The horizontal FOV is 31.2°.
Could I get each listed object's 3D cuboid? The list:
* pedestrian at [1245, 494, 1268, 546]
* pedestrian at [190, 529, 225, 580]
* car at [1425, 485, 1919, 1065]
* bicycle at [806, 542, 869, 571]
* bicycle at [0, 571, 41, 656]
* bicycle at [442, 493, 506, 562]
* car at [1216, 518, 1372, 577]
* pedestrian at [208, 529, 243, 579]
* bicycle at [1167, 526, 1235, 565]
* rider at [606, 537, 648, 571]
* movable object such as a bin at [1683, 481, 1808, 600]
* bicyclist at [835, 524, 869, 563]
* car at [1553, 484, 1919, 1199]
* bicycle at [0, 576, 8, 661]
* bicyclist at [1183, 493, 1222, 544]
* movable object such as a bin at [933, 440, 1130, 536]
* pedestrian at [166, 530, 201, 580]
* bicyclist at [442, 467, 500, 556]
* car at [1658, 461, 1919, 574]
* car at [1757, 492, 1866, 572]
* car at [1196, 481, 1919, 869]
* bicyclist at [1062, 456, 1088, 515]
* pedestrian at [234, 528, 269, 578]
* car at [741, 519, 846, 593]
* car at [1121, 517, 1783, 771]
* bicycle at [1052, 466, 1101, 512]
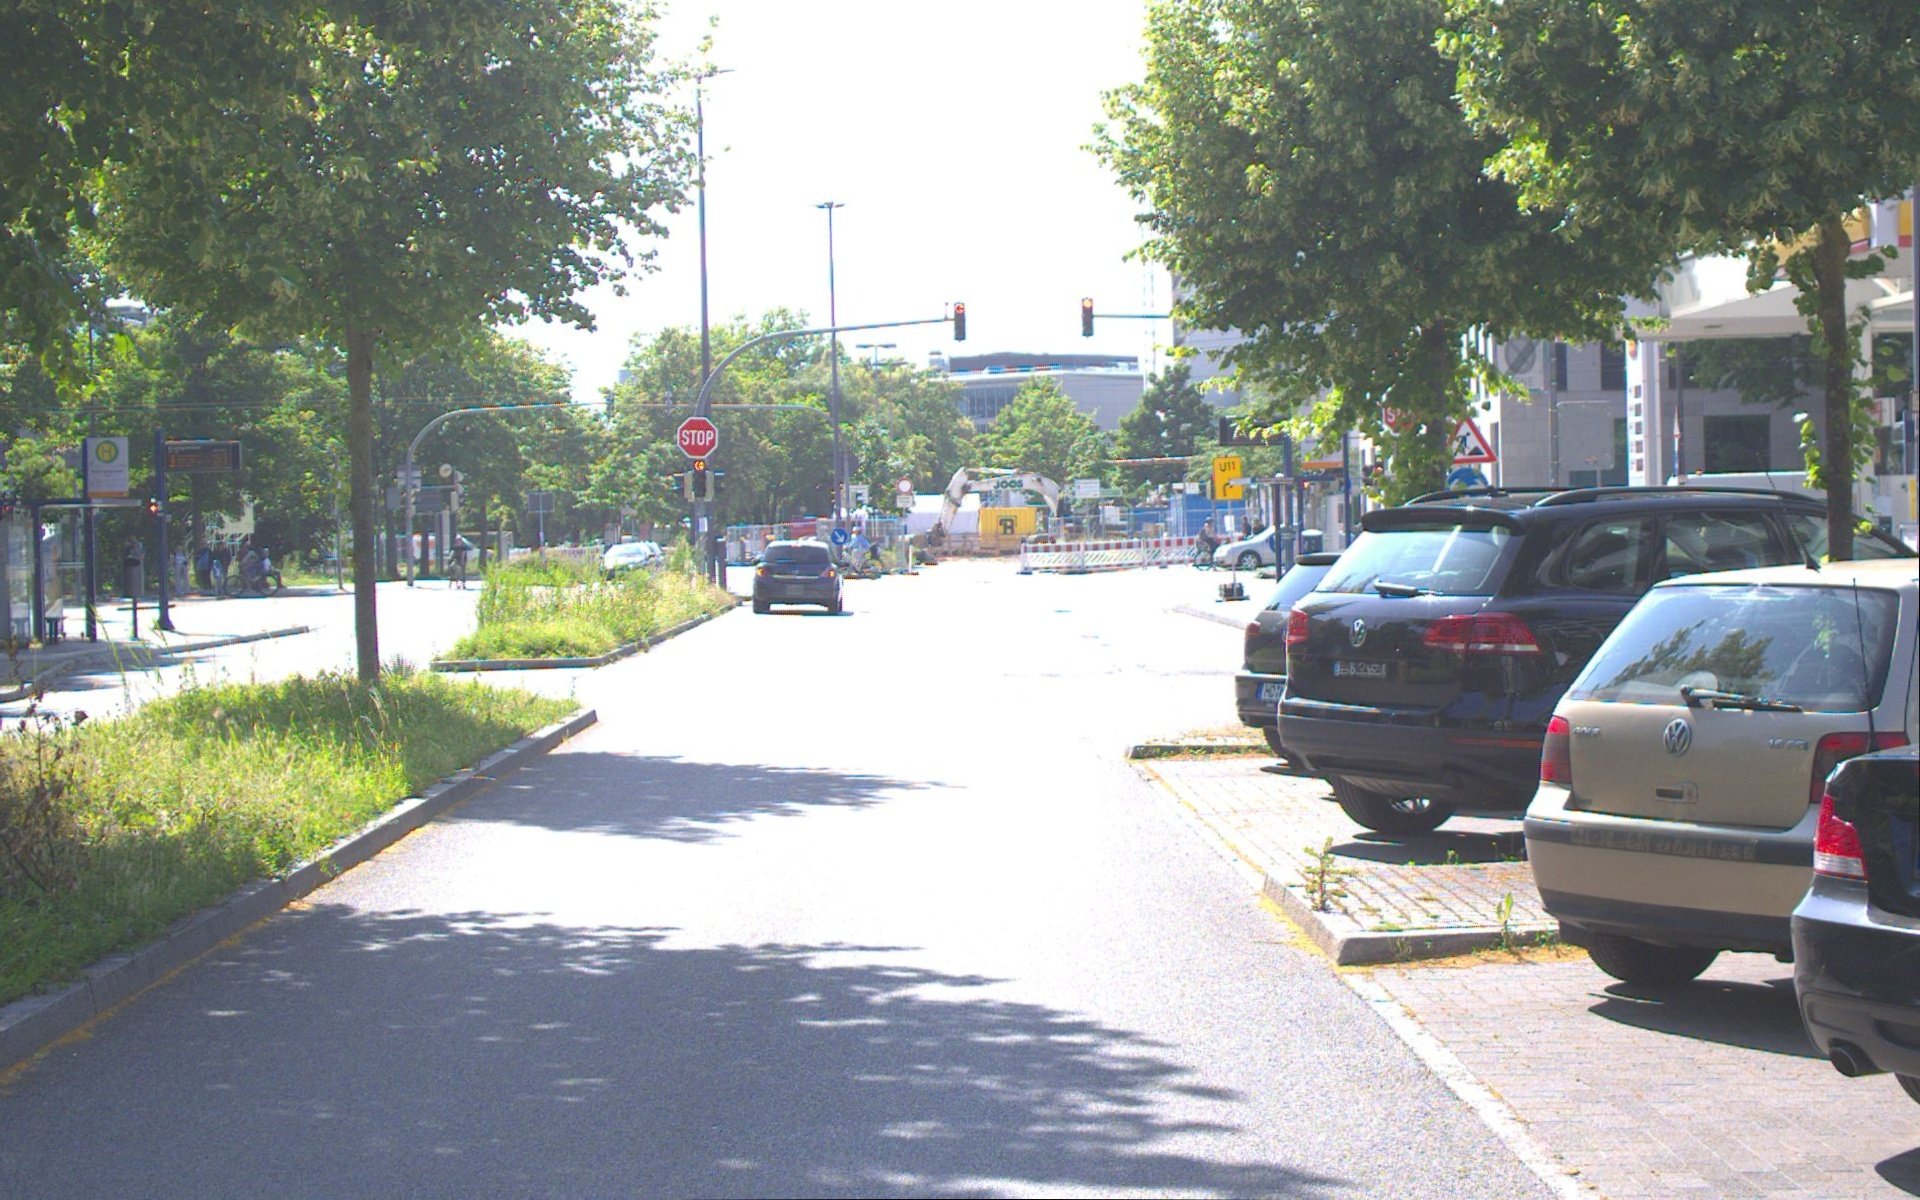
[{"bbox_3d":[10.078,-2.725,116.877,0.528,1.765,0.720,-1,1,-14],"label":"pedestrian"},{"bbox_3d":[-24.425,-1.479,111.583,0.655,1.606,0.941,0,1,23],"label":"pedestrian"},{"bbox_3d":[3.706,0.433,11.075,3.986,1.634,1.753,-2,1,-12],"label":"car"},{"bbox_3d":[-3.979,-1.413,111.869,1.999,0.880,0.527,-1,1,-7],"label":"bicycle"},{"bbox_3d":[-13.383,0.190,46.218,1.845,1.118,0.693,-1,1,1],"label":"bicycle"},{"bbox_3d":[-16.522,-2.474,116.992,1.599,2.261,4.000,-1,1,-1],"label":"bicycle"},{"bbox_3d":[10.057,-1.600,103.660,4.380,1.633,2.000,-2,1,-4],"label":"car"},{"bbox_3d":[-23.683,-1.481,110.836,0.655,1.606,0.941,0,1,23],"label":"pedestrian"},{"bbox_3d":[8.140,-1.854,116.190,2.229,1.280,0.525,-1,1,8],"label":"bicycle"},{"bbox_3d":[-12.009,-1.673,124.064,1.391,1.191,2.698,-1,1,-3],"label":"rider"},{"bbox_3d":[11.217,-0.852,49.131,1.307,1.586,1.396,-4,1,-3],"label":"movable object such as a bin"},{"bbox_3d":[-3.519,-1.842,111.934,1.051,1.270,0.492,-1,1,-7],"label":"bicyclist"},{"bbox_3d":[3.643,0.504,8.643,3.987,1.634,1.753,-2,3,-28],"label":"car"},{"bbox_3d":[-13.486,0.260,44.953,1.845,1.102,0.693,-1,1,1],"label":"bicycle"},{"bbox_3d":[8.202,-2.755,116.156,1.240,1.667,0.525,-1,1,8],"label":"bicyclist"},{"bbox_3d":[3.593,-5.584,171.799,9.675,4.534,3.164,-1,2,1],"label":"movable object such as a bin"},{"bbox_3d":[-25.206,-1.462,111.607,0.655,1.606,0.941,0,1,23],"label":"pedestrian"},{"bbox_3d":[-16.516,-2.988,116.165,1.599,2.921,2.353,-1,1,-1],"label":"bicyclist"},{"bbox_3d":[21.969,-2.150,88.088,7.427,2.665,2.903,-2,2,-4],"label":"car"},{"bbox_3d":[15.488,-1.250,62.667,1.651,1.393,3.640,-1,1,10],"label":"car"},{"bbox_3d":[3.599,0.265,17.135,4.731,1.654,1.753,-2,2,-34],"label":"car"},{"bbox_3d":[5.030,-5.000,150.691,1.070,2.565,0.827,-1,1,6],"label":"bicyclist"},{"bbox_3d":[-23.115,-1.521,112.136,0.667,1.606,0.941,0,1,23],"label":"pedestrian"},{"bbox_3d":[-3.369,-0.895,68.955,1.993,1.393,4.001,-1,1,-4],"label":"car"},{"bbox_3d":[3.374,0.239,23.460,4.104,1.525,2.000,-2,2,-31],"label":"car"},{"bbox_3d":[5.108,-4.867,150.674,2.088,1.955,0.827,-1,1,6],"label":"bicycle"}]
